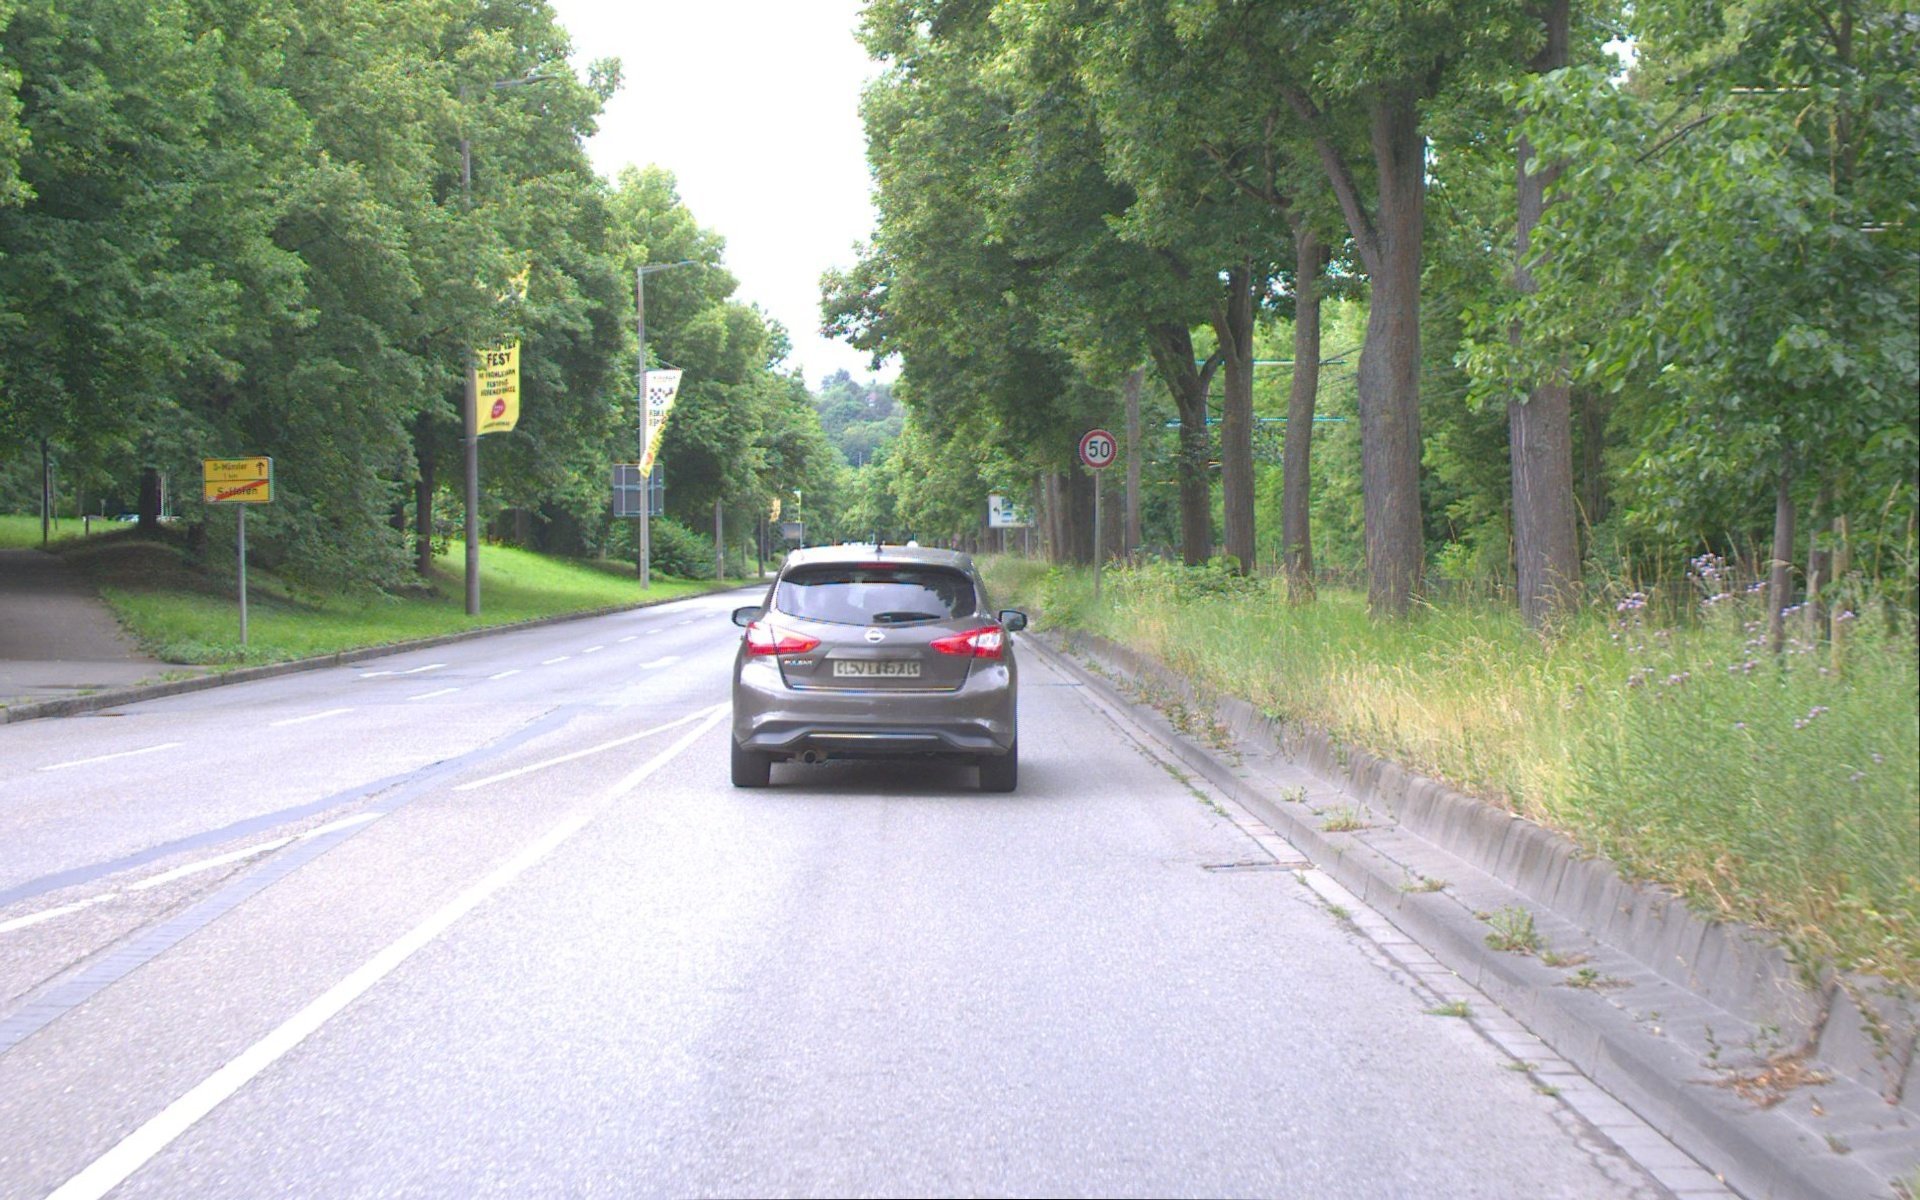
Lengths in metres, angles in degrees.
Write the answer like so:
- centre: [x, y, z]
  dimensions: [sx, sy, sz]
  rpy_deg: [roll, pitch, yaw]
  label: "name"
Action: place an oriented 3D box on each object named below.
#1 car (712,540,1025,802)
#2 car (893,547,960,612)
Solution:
- centre: [-0.508, 0.404, 22.454]
  dimensions: [1.837, 1.523, 3.929]
  rpy_deg: [1, 1, 1]
  label: "car"
- centre: [-0.813, -0.510, 84.834]
  dimensions: [1.503, 1.523, 3.671]
  rpy_deg: [1, 0, 1]
  label: "car"
